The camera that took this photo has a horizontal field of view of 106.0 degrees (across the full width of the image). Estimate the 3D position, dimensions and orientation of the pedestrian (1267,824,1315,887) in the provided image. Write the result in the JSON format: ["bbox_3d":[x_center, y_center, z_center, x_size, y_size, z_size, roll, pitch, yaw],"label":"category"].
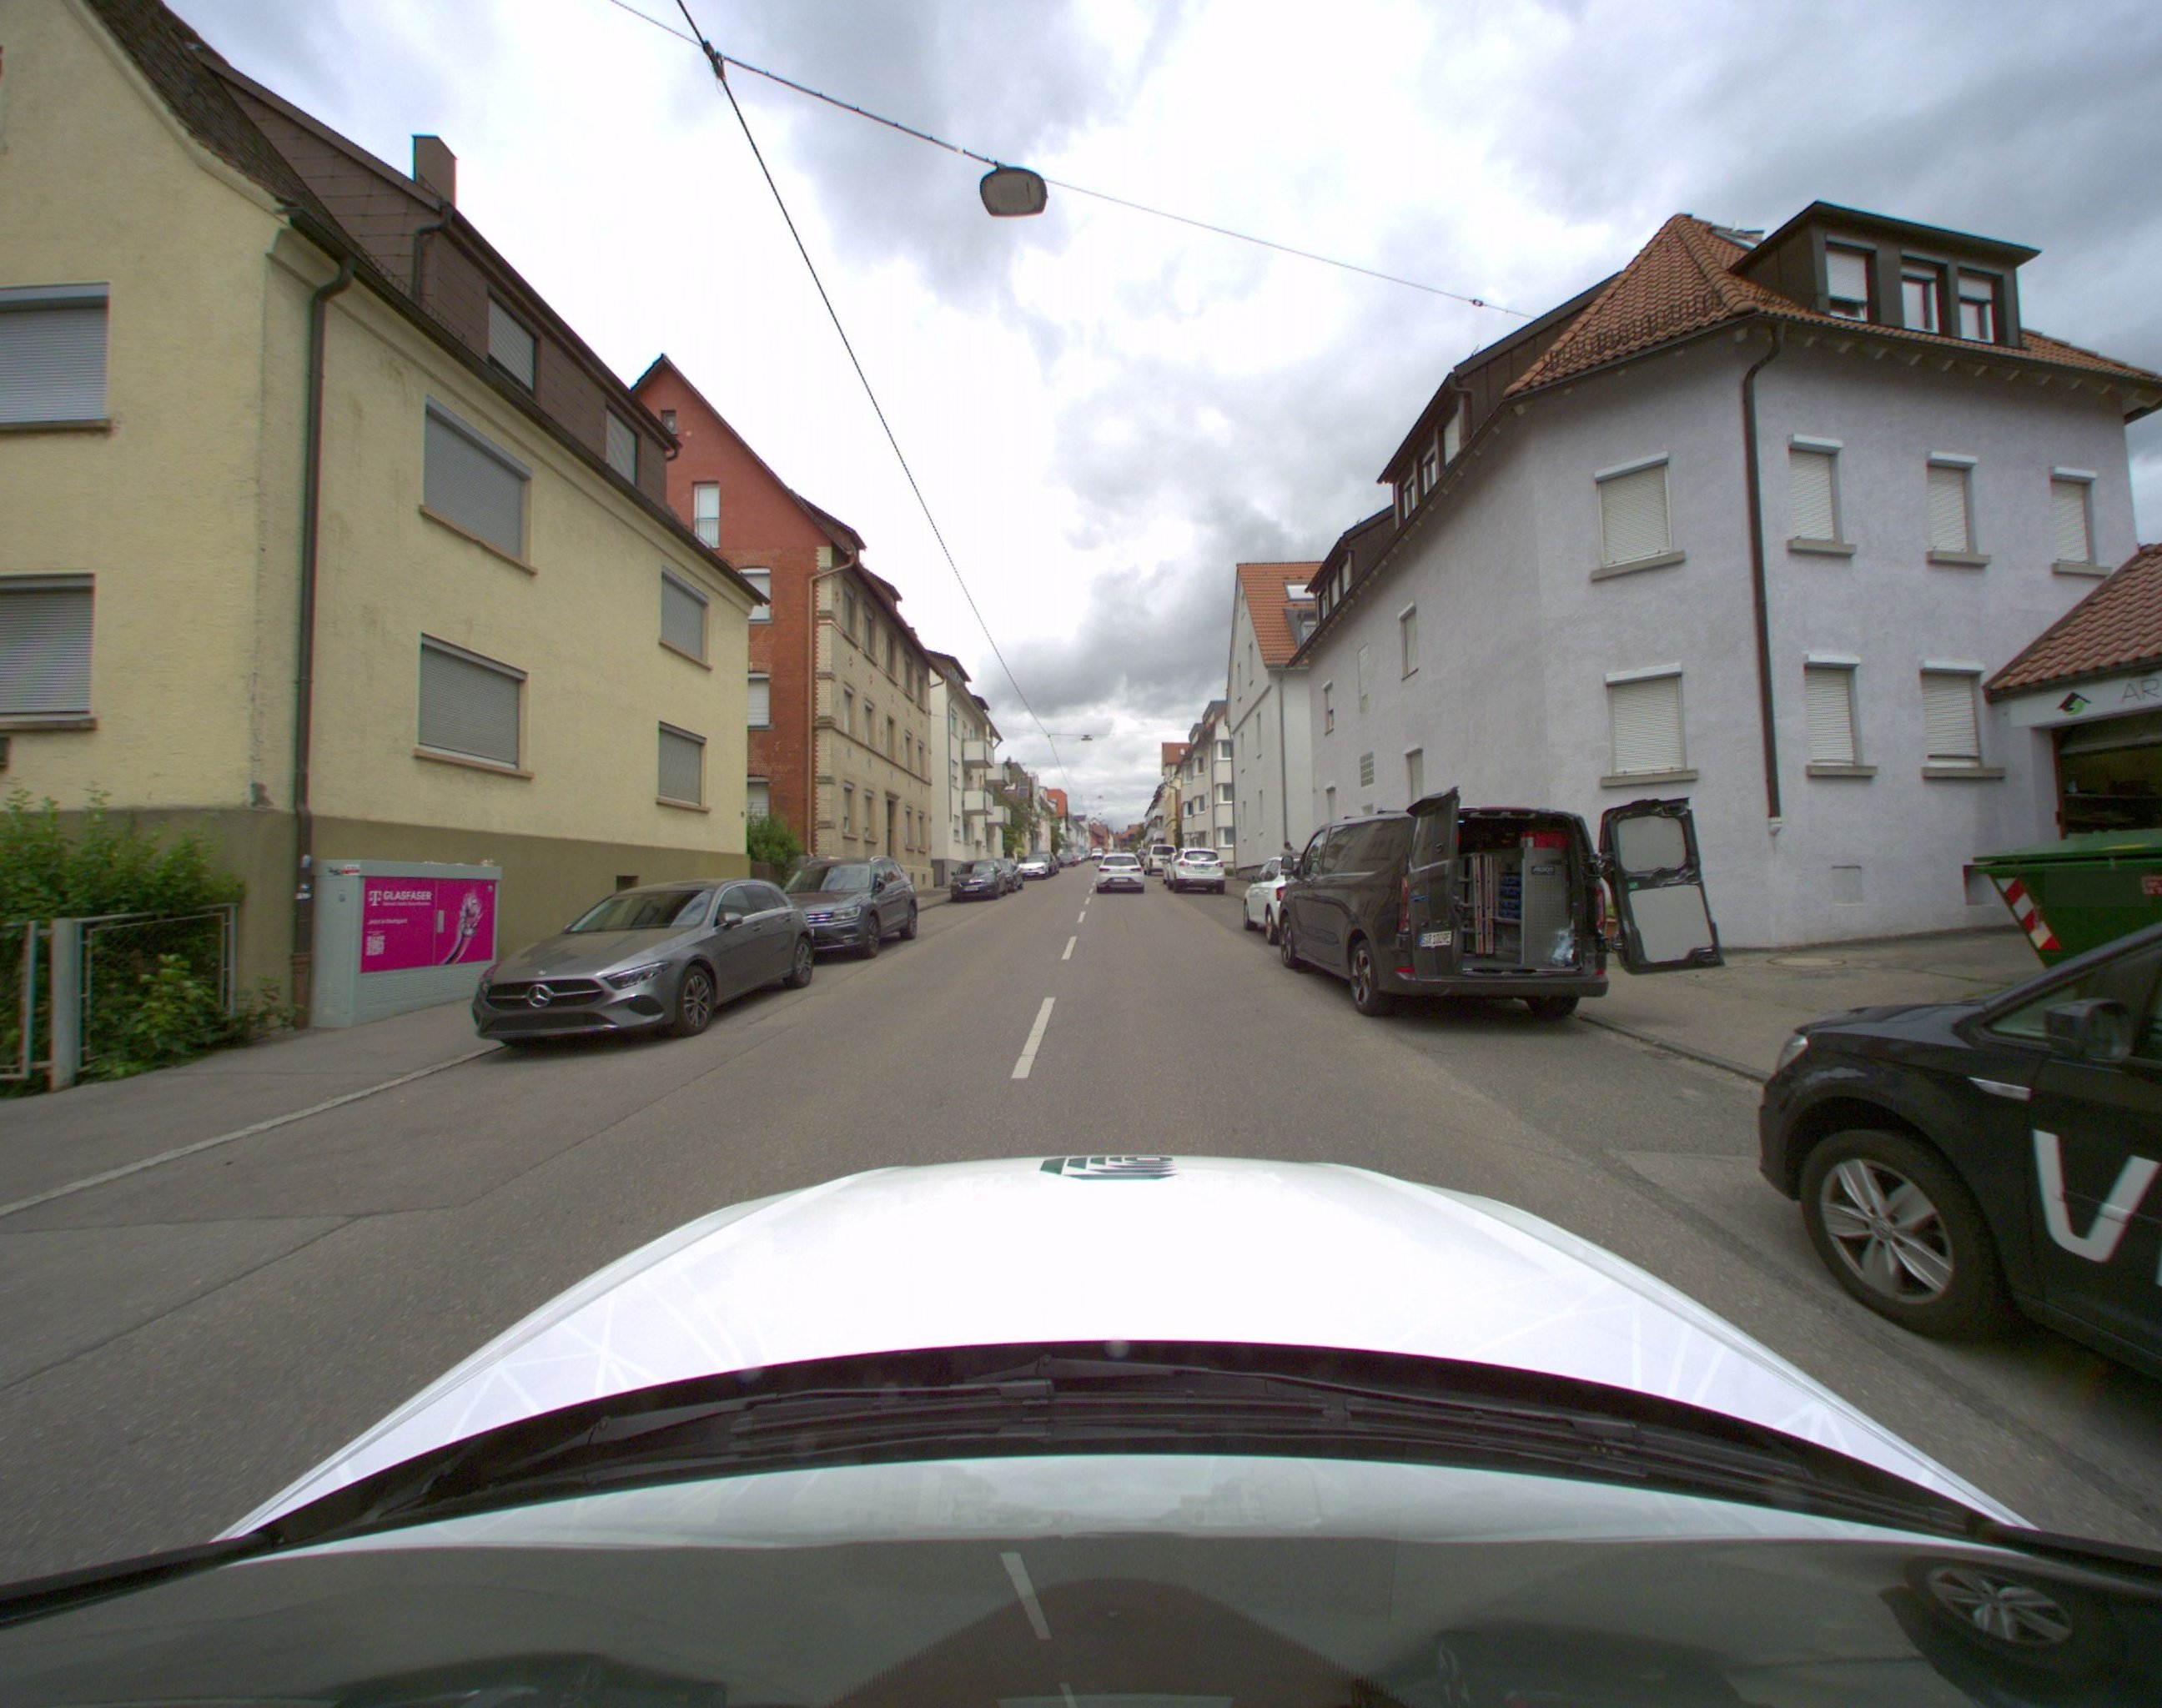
[{"bbox_3d":[6.198,0.031,24.108,0.972,1.739,1.534,-4,0,3],"label":"pedestrian"}]

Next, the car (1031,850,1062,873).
[{"bbox_3d":[-2.616,0.548,62.273,1.986,1.651,4.002,-1,0,2],"label":"car"}]

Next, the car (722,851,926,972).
[{"bbox_3d":[-4.268,0.842,14.432,1.987,1.651,4.554,-4,0,1],"label":"car"}]

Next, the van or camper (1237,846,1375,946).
[{"bbox_3d":[3.934,0.650,14.861,1.596,1.543,4.003,1,0,3],"label":"van or camper"}]

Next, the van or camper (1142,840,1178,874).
[{"bbox_3d":[5.101,0.172,53.130,1.934,2.054,4.562,-1,0,0],"label":"van or camper"}]

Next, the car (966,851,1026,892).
[{"bbox_3d":[-3.614,0.703,35.174,1.986,1.651,4.002,-1,0,2],"label":"car"}]

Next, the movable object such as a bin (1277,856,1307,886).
[{"bbox_3d":[7.809,0.614,30.183,0.883,1.061,1.219,-1,0,7],"label":"movable object such as a bin"}]

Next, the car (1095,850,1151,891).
[{"bbox_3d":[1.546,0.568,30.754,1.933,1.439,4.002,-1,0,2],"label":"car"}]

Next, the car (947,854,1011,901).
[{"bbox_3d":[-3.711,0.821,30.333,1.636,1.473,4.181,-4,0,2],"label":"car"}]

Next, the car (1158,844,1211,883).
[{"bbox_3d":[4.751,0.424,37.994,1.934,1.693,3.999,-1,0,0],"label":"car"}]

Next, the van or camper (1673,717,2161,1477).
[{"bbox_3d":[3.521,0.597,1.279,1.864,1.828,4.681,1,0,1],"label":"van or camper"}]

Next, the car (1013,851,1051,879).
[{"bbox_3d":[-3.002,0.658,50.864,1.986,1.651,4.002,-1,0,2],"label":"car"}]

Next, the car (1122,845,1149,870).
[{"bbox_3d":[4.675,0.299,70.483,1.988,2.013,3.998,-2,0,-1],"label":"car"}]

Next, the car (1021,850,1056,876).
[{"bbox_3d":[-2.876,0.565,55.717,1.986,1.651,4.002,-1,0,2],"label":"car"}]

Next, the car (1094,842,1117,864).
[{"bbox_3d":[2.273,-0.081,76.621,2.145,2.013,4.001,0,0,1],"label":"car"}]

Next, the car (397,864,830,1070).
[{"bbox_3d":[-4.528,0.968,8.849,1.985,1.472,4.247,-4,0,3],"label":"car"}]

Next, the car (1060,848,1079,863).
[{"bbox_3d":[-1.345,0.205,94.236,1.986,1.651,4.181,-1,0,2],"label":"car"}]

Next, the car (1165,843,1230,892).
[{"bbox_3d":[4.393,0.473,31.144,1.934,1.693,4.000,1,0,1],"label":"car"}]

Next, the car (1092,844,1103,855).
[{"bbox_3d":[3.154,-0.910,152.301,1.986,2.013,4.002,-2,0,2],"label":"car"}]

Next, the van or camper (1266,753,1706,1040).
[{"bbox_3d":[3.648,0.296,8.946,1.986,2.065,5.946,1,0,1],"label":"van or camper"}]
